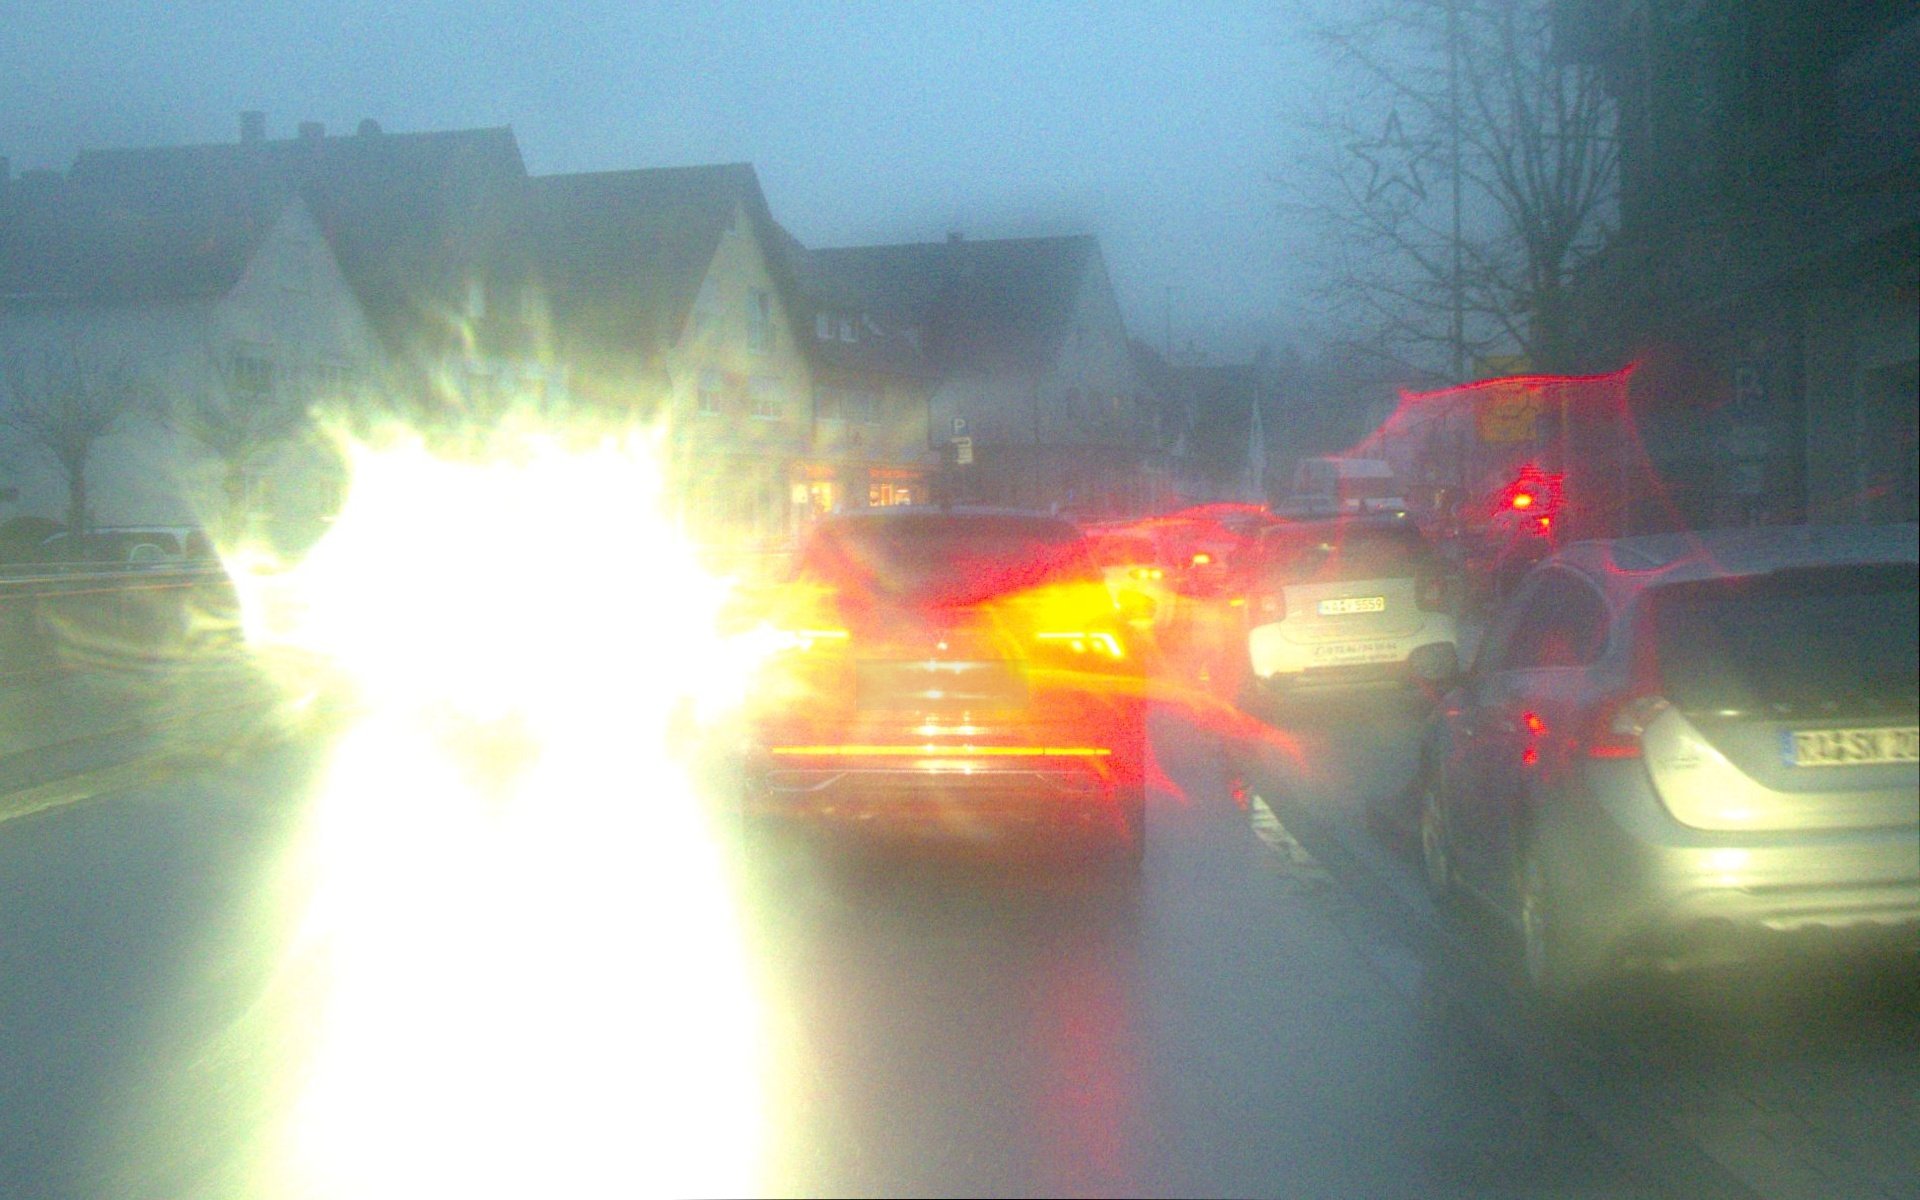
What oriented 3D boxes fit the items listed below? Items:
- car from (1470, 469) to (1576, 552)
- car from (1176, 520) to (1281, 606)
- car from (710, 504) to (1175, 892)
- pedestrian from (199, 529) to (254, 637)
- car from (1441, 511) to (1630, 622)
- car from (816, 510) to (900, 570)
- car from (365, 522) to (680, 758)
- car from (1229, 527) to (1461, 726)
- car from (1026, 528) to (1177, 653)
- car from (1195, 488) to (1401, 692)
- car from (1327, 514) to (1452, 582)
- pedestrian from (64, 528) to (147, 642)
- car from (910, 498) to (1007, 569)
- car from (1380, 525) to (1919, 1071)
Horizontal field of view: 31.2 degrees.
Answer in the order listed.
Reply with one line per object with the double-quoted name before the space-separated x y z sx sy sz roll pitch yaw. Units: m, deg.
"car" 14.956 -2.387 91.174 2.159 1.984 4.496 -4 1 16
"car" 4.783 -0.685 61.308 1.814 1.407 4.000 0 2 4
"car" -0.076 0.355 16.704 1.964 1.589 4.314 0 2 0
"pedestrian" -11.615 -0.280 54.440 0.664 1.692 0.541 0 2 13
"car" 7.877 -0.480 47.375 1.765 1.389 3.914 -3 1 -2
"car" -2.908 -1.712 97.031 1.821 1.607 4.058 -2 2 -9
"car" -3.076 0.230 24.831 1.732 1.531 3.781 1 1 0
"car" 3.074 0.178 27.861 1.645 1.410 2.727 -3 2 3
"car" 1.717 -0.156 42.832 1.682 1.448 4.000 1 1 0
"car" 3.363 -0.144 33.661 1.770 1.776 3.999 -4 1 8
"car" 9.485 -1.167 75.721 1.995 1.387 3.997 -1 2 18
"pedestrian" -13.531 -0.251 54.474 0.928 1.778 0.973 0 2 13
"car" -0.076 -1.883 96.320 2.037 1.919 4.058 -2 2 -9
"car" 2.552 0.513 11.765 1.652 1.450 4.238 -3 1 0
